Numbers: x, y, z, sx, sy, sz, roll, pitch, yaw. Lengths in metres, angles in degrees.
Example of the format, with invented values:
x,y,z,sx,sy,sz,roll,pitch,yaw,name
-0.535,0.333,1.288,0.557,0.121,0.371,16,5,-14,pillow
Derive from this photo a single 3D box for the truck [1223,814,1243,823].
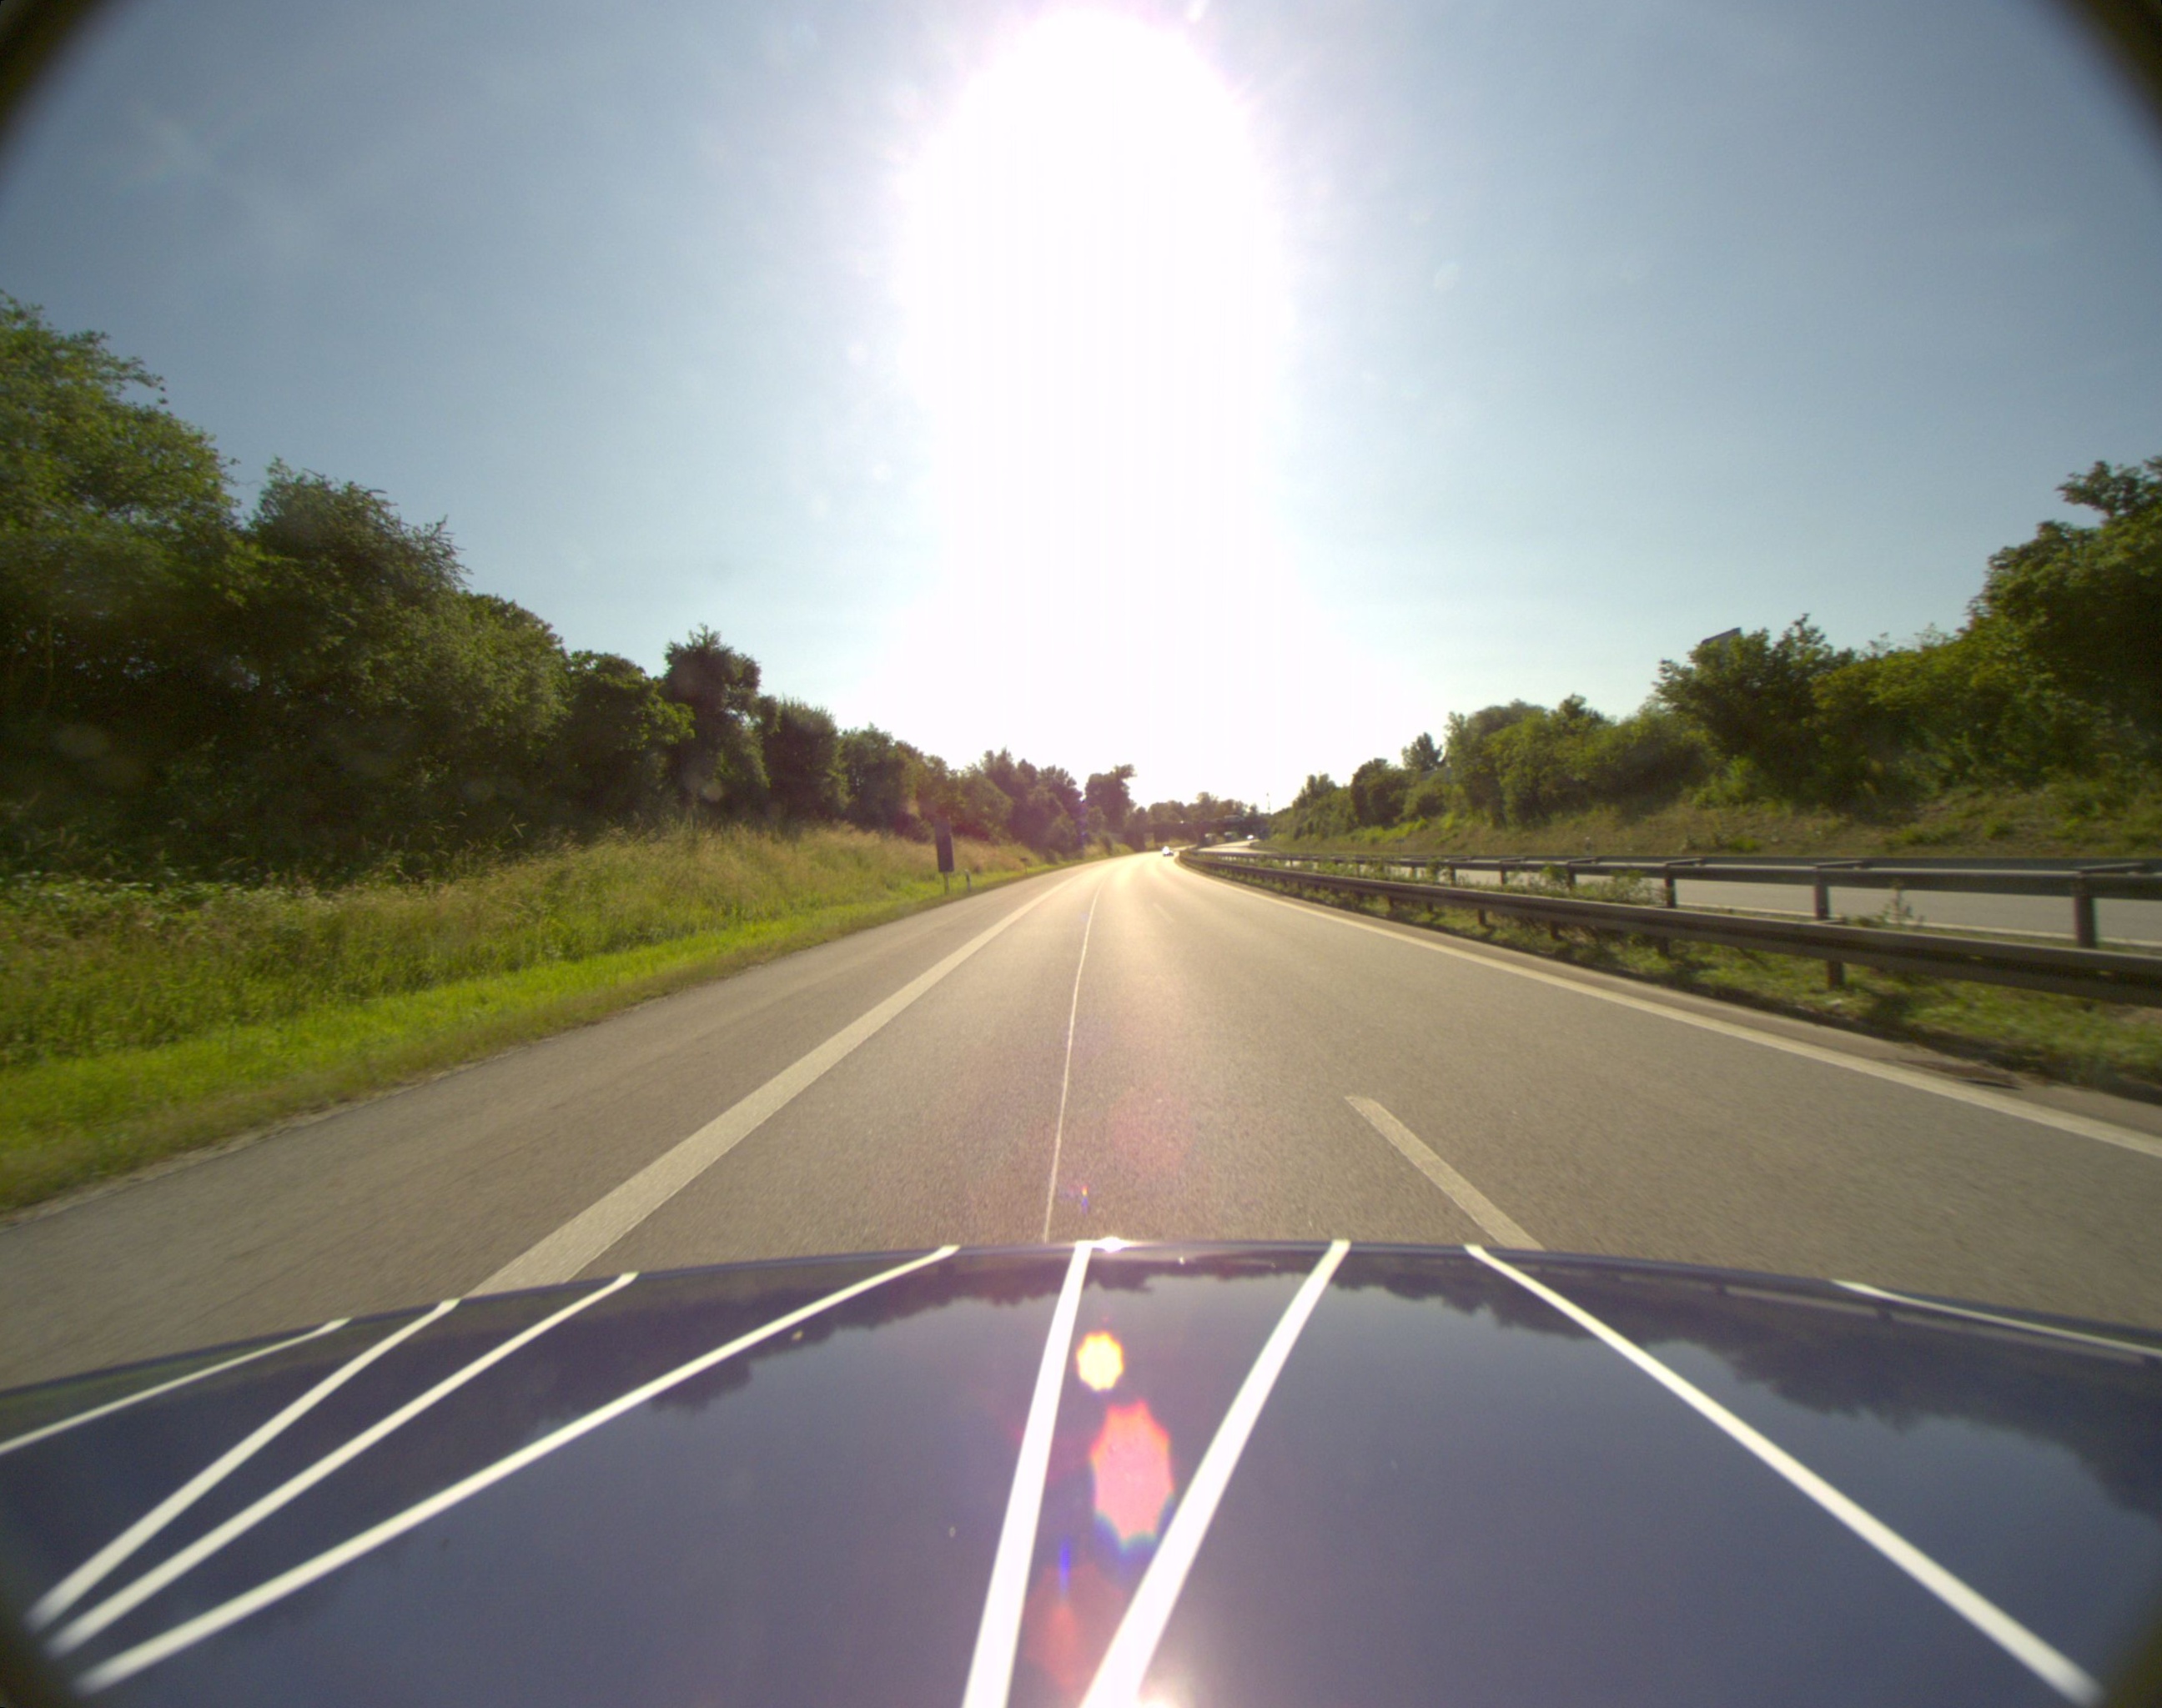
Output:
x,y,z,sx,sy,sz,roll,pitch,yaw,name
39.205,-9.081,195.552,4.864,2.155,2.001,-2,2,12,truck

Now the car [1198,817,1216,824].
x,y,z,sx,sy,sz,roll,pitch,yaw,name
32.711,-8.630,196.934,4.435,1.547,1.907,-2,2,13,car

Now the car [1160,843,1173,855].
x,y,z,sx,sy,sz,roll,pitch,yaw,name
14.509,-0.907,129.069,1.997,2.002,4.601,-2,1,7,car
